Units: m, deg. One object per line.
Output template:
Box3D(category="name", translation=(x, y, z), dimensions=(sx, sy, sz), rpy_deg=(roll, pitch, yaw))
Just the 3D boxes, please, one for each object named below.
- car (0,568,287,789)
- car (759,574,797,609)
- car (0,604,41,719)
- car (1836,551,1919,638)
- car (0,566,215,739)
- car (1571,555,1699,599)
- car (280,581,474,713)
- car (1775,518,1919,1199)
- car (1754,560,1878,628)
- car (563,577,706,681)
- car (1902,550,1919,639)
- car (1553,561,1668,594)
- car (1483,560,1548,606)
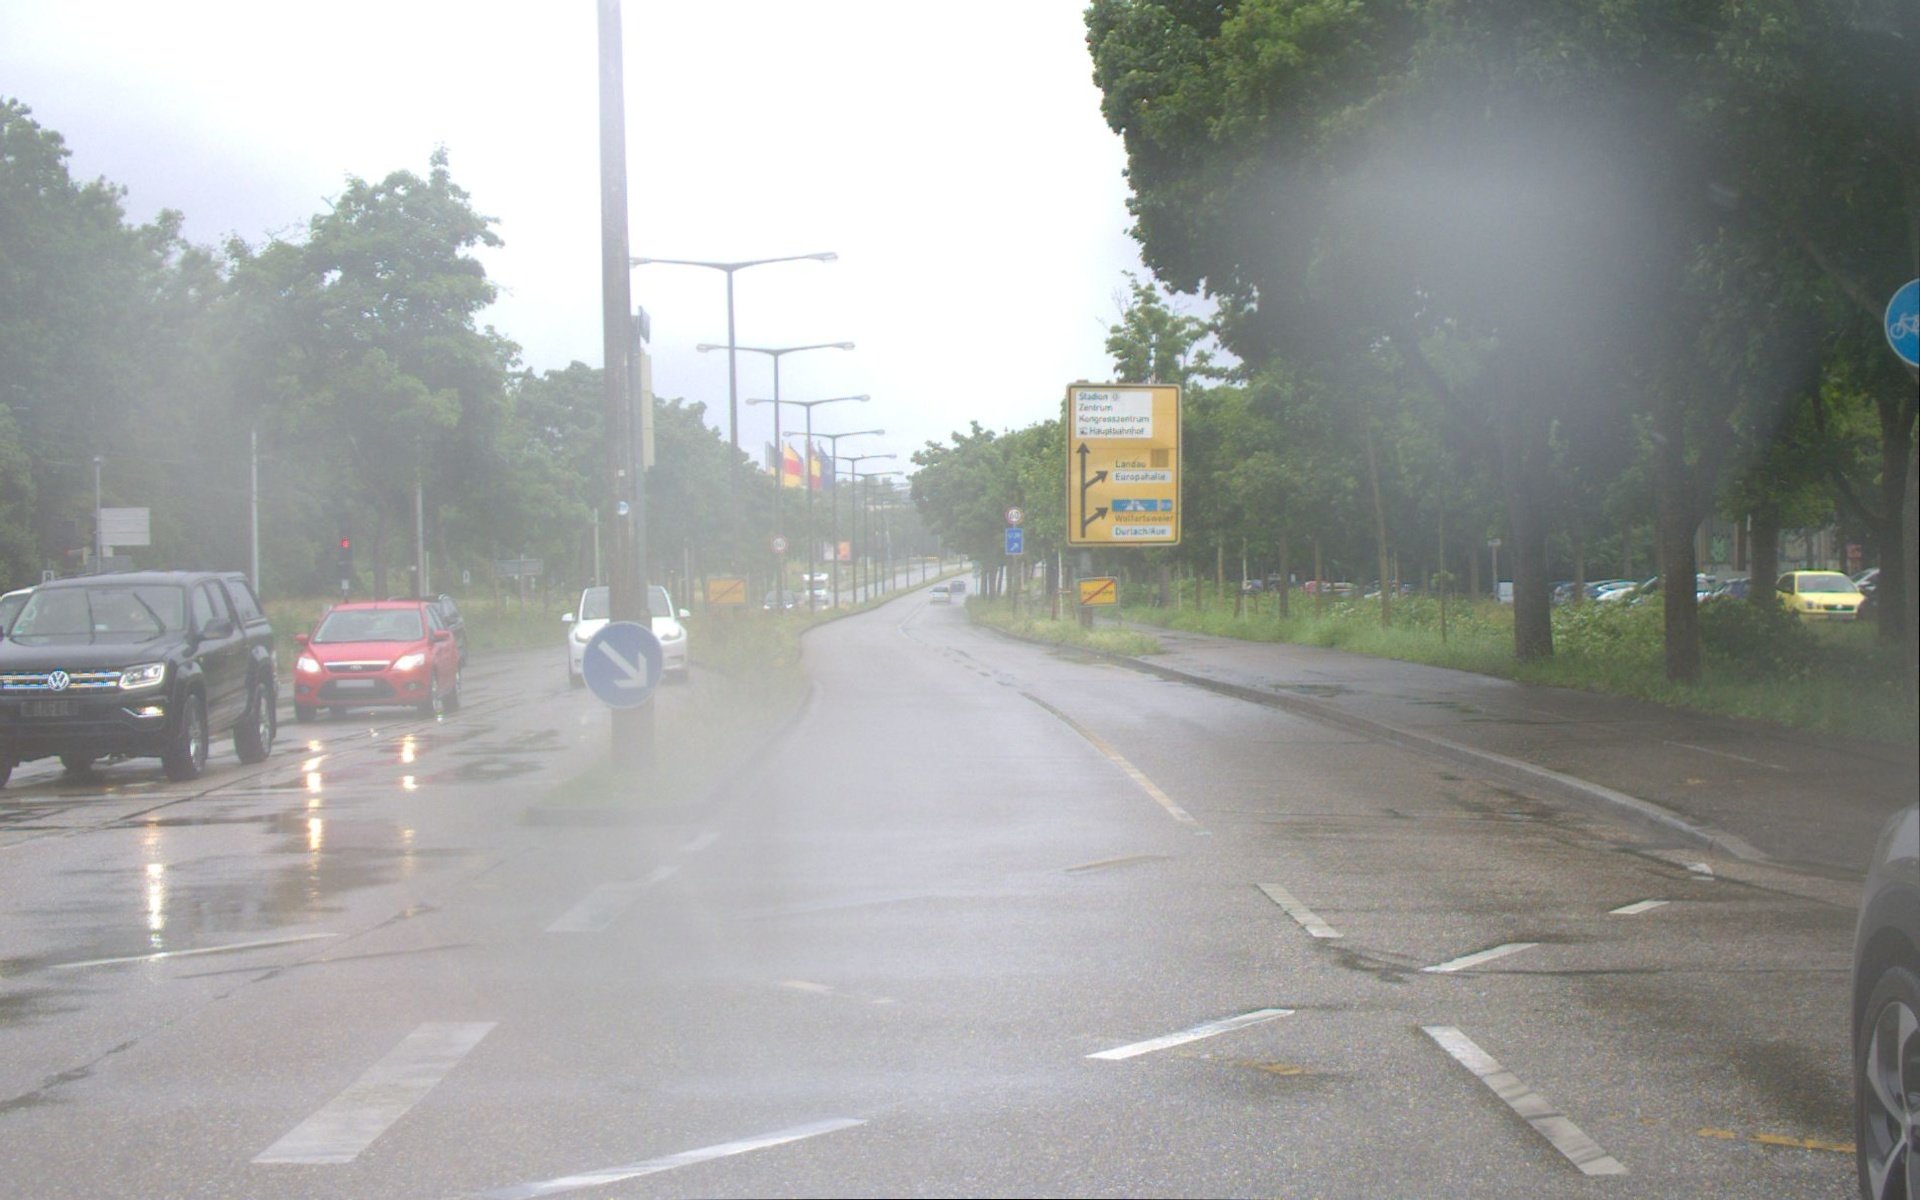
Box3D(category="car", translation=(-7.445, 0.634, 30.821), dimensions=(1.805, 1.767, 5.089), rpy_deg=(-2, 0, -1))
Box3D(category="car", translation=(-9.252, -0.445, 174.761), dimensions=(1.743, 1.644, 4.136), rpy_deg=(-3, 1, -1))
Box3D(category="car", translation=(-16.333, 0.973, 55.190), dimensions=(1.993, 1.821, 4.772), rpy_deg=(1, 0, -2))
Box3D(category="car", translation=(19.600, -0.132, 70.225), dimensions=(1.993, 1.711, 4.642), rpy_deg=(-1, 0, -2))
Box3D(category="car", translation=(-10.798, 0.600, 42.929), dimensions=(1.929, 2.011, 4.743), rpy_deg=(-1, 1, 0))
Box3D(category="car", translation=(26.658, -0.897, 135.832), dimensions=(4.569, 1.639, 2.000), rpy_deg=(1, 0, -6))
Box3D(category="car", translation=(-7.538, 0.598, 44.849), dimensions=(1.801, 1.564, 4.429), rpy_deg=(-2, 0, -1))
Box3D(category="car", translation=(2.814, 0.663, 5.698), dimensions=(1.884, 1.605, 4.195), rpy_deg=(1, 0, 0))
Box3D(category="car", translation=(19.399, -0.131, 78.054), dimensions=(1.637, 1.481, 4.073), rpy_deg=(1, 0, -2))
Box3D(category="car", translation=(-5.387, 0.444, 57.413), dimensions=(1.961, 1.611, 4.697), rpy_deg=(-2, 0, -1))
Box3D(category="car", translation=(19.480, -0.139, 64.591), dimensions=(1.993, 1.711, 4.879), rpy_deg=(-1, 0, -2))
Box3D(category="car", translation=(27.332, -0.943, 144.605), dimensions=(4.397, 1.329, 1.838), rpy_deg=(1, 0, -6))
Box3D(category="car", translation=(19.611, -0.611, 121.459), dimensions=(1.745, 1.440, 4.122), rpy_deg=(-1, 2, 2))
